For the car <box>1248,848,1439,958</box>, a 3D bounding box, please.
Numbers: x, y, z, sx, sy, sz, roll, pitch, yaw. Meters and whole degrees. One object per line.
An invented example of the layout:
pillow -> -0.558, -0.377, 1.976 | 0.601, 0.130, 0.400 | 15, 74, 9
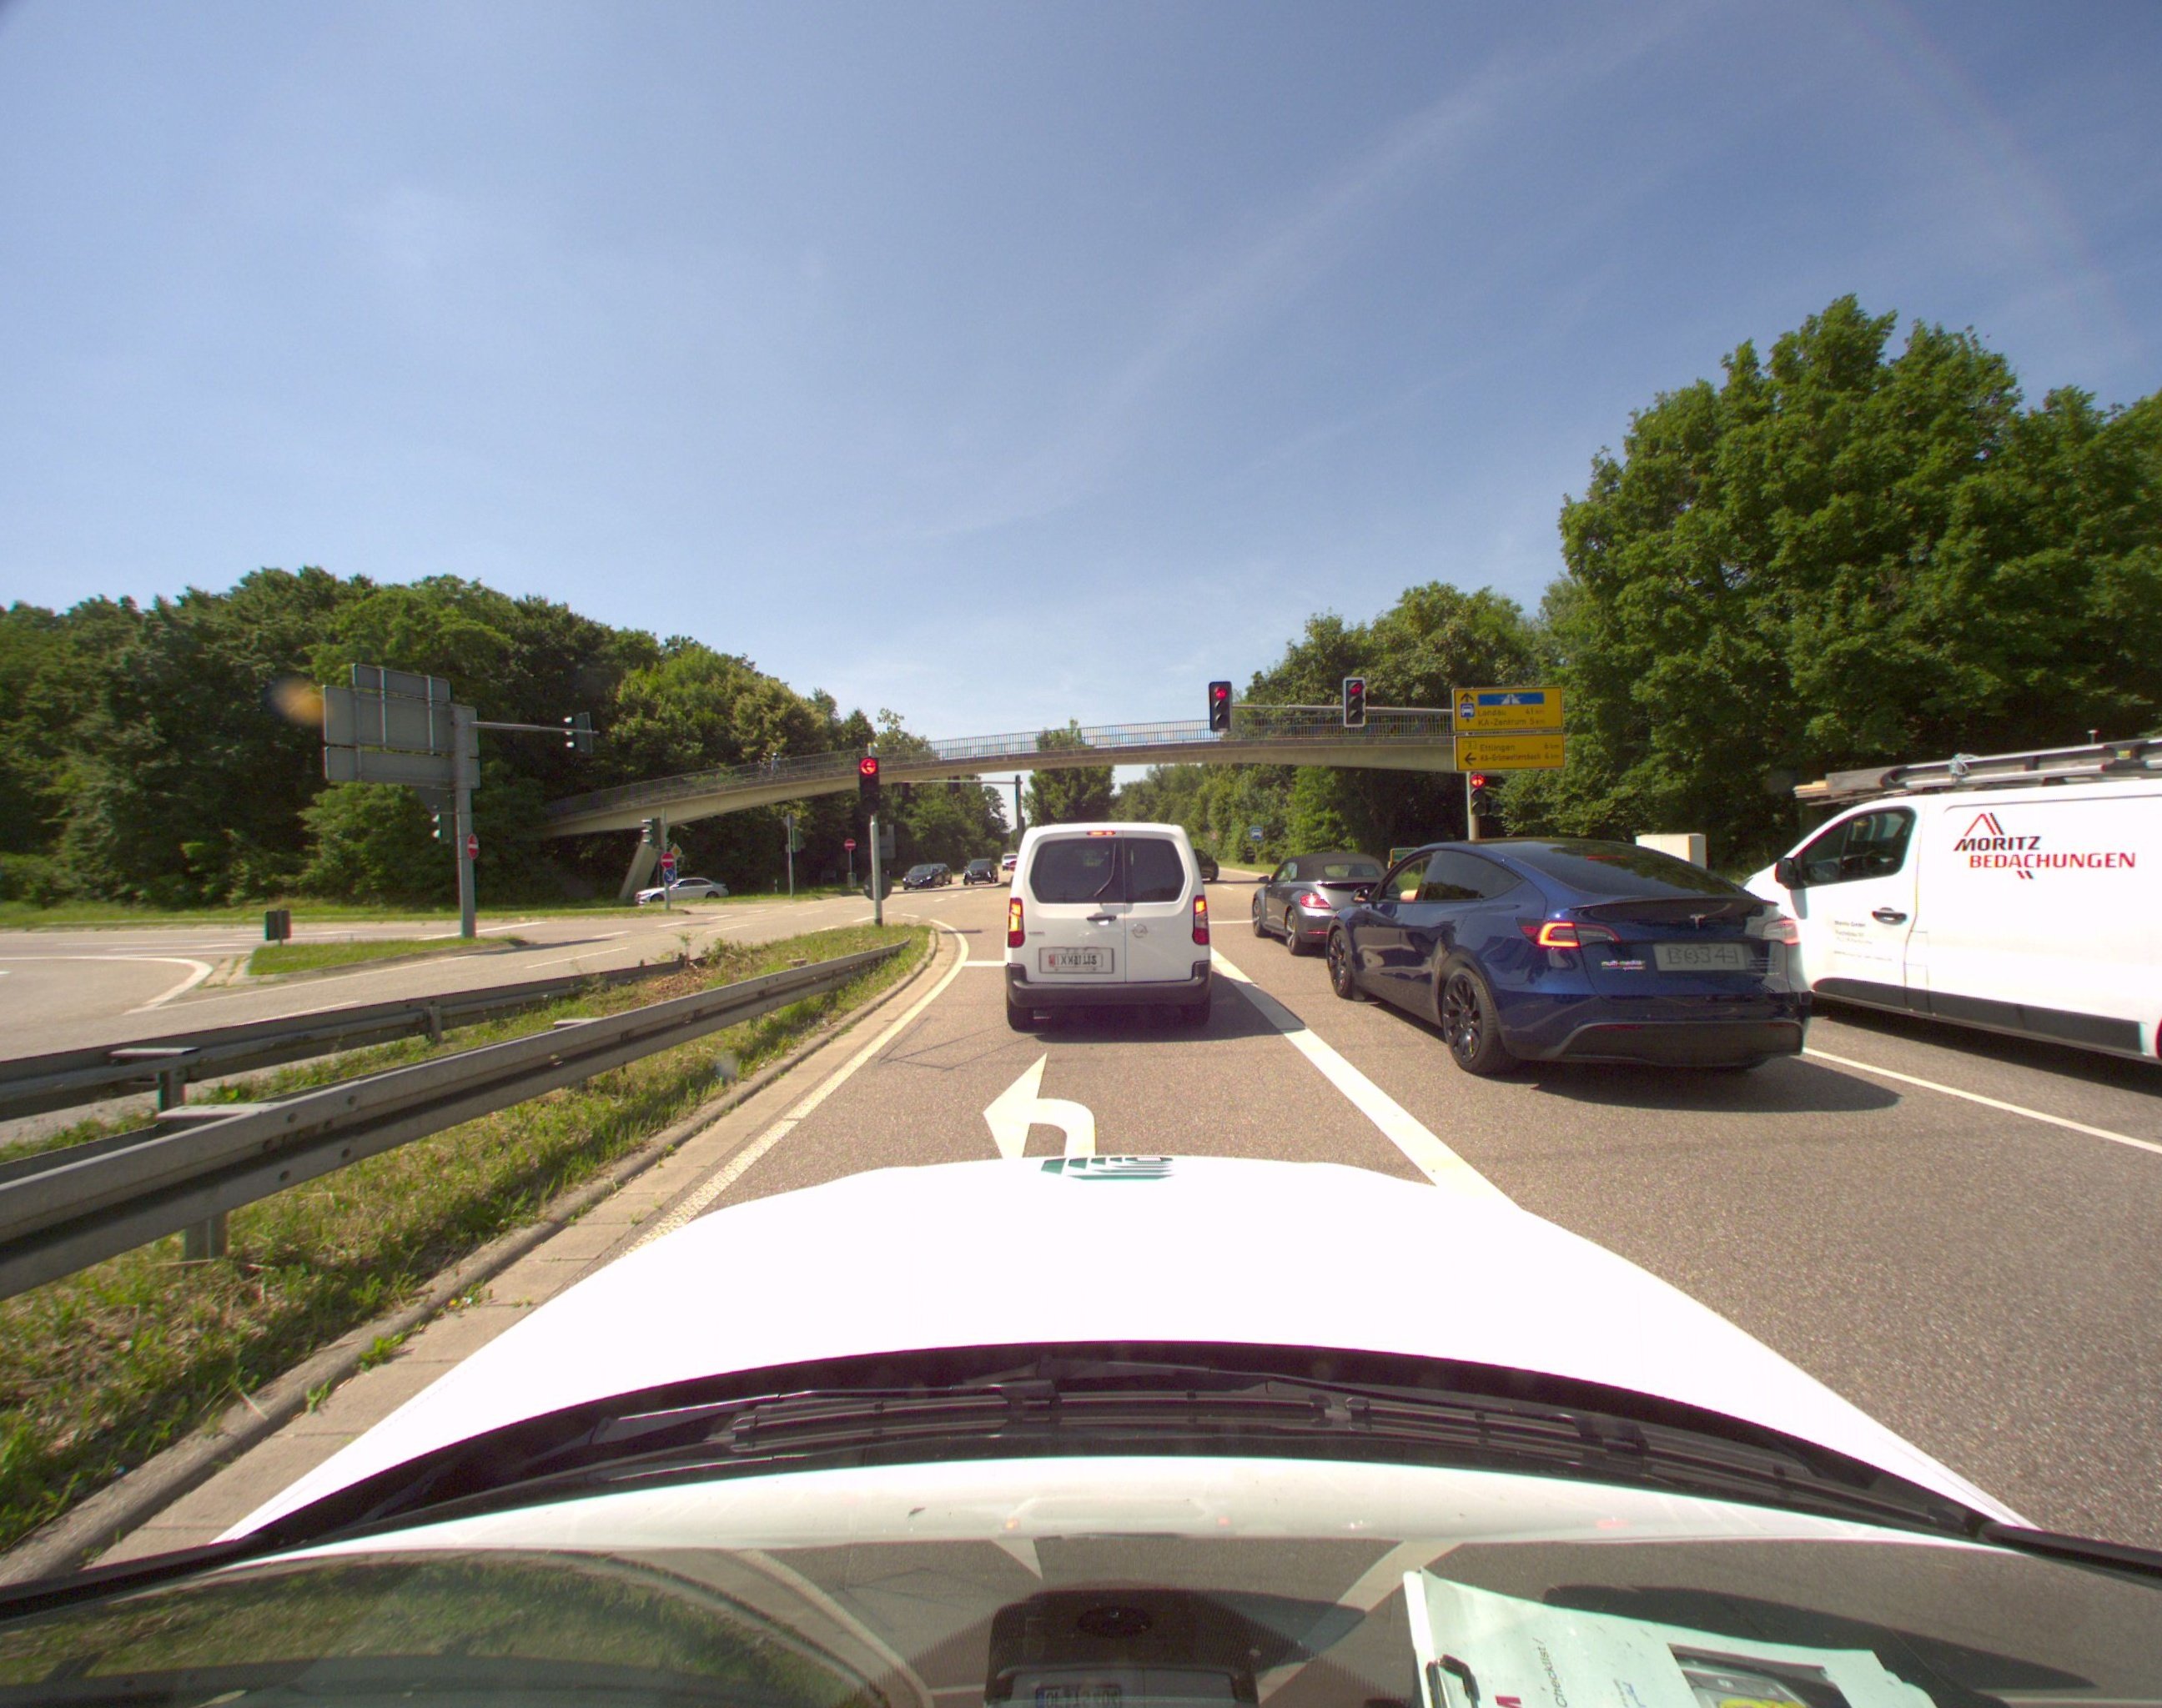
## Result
car -> 3.959, 0.664, 13.012 | 1.893, 1.478, 3.940 | -1, 0, 2

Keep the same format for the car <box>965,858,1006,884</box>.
car -> -5.912, 1.018, 50.847 | 1.986, 1.523, 4.029 | -1, 0, 2

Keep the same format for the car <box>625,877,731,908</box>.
car -> -22.042, 2.065, 44.721 | 4.810, 1.373, 1.975 | -3, 0, -44

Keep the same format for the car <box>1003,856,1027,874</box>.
car -> -7.912, 1.309, 98.564 | 2.200, 1.993, 5.490 | -3, 0, 2

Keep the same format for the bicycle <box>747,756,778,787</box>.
bicycle -> -16.961, -4.382, 43.372 | 1.514, 1.474, 0.472 | -4, -2, 17

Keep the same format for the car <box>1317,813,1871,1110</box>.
car -> 3.521, 0.597, 6.816 | 1.893, 1.644, 4.522 | -1, 0, 2

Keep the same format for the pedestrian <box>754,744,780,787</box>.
pedestrian -> -16.802, -4.703, 43.592 | 0.776, 2.139, 0.936 | -4, -2, 17

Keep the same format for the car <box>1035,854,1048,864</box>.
car -> -8.437, 1.097, 174.673 | 2.200, 1.993, 4.735 | -3, 0, 2

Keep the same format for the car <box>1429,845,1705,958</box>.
car -> 7.380, 0.622, 12.986 | 1.893, 1.478, 4.382 | -1, 0, 2

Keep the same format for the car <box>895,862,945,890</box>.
car -> -9.705, 1.323, 49.411 | 2.001, 1.460, 4.057 | -3, 0, 2

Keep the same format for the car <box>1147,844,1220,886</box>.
car -> 5.013, 0.468, 39.156 | 2.024, 1.699, 5.114 | -4, 0, 23

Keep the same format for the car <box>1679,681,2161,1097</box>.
car -> 7.097, 0.190, 5.872 | 1.925, 2.349, 5.076 | -1, 0, 1

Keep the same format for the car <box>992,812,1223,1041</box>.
car -> 0.249, 0.561, 8.558 | 1.843, 1.825, 3.982 | -1, 1, 1
